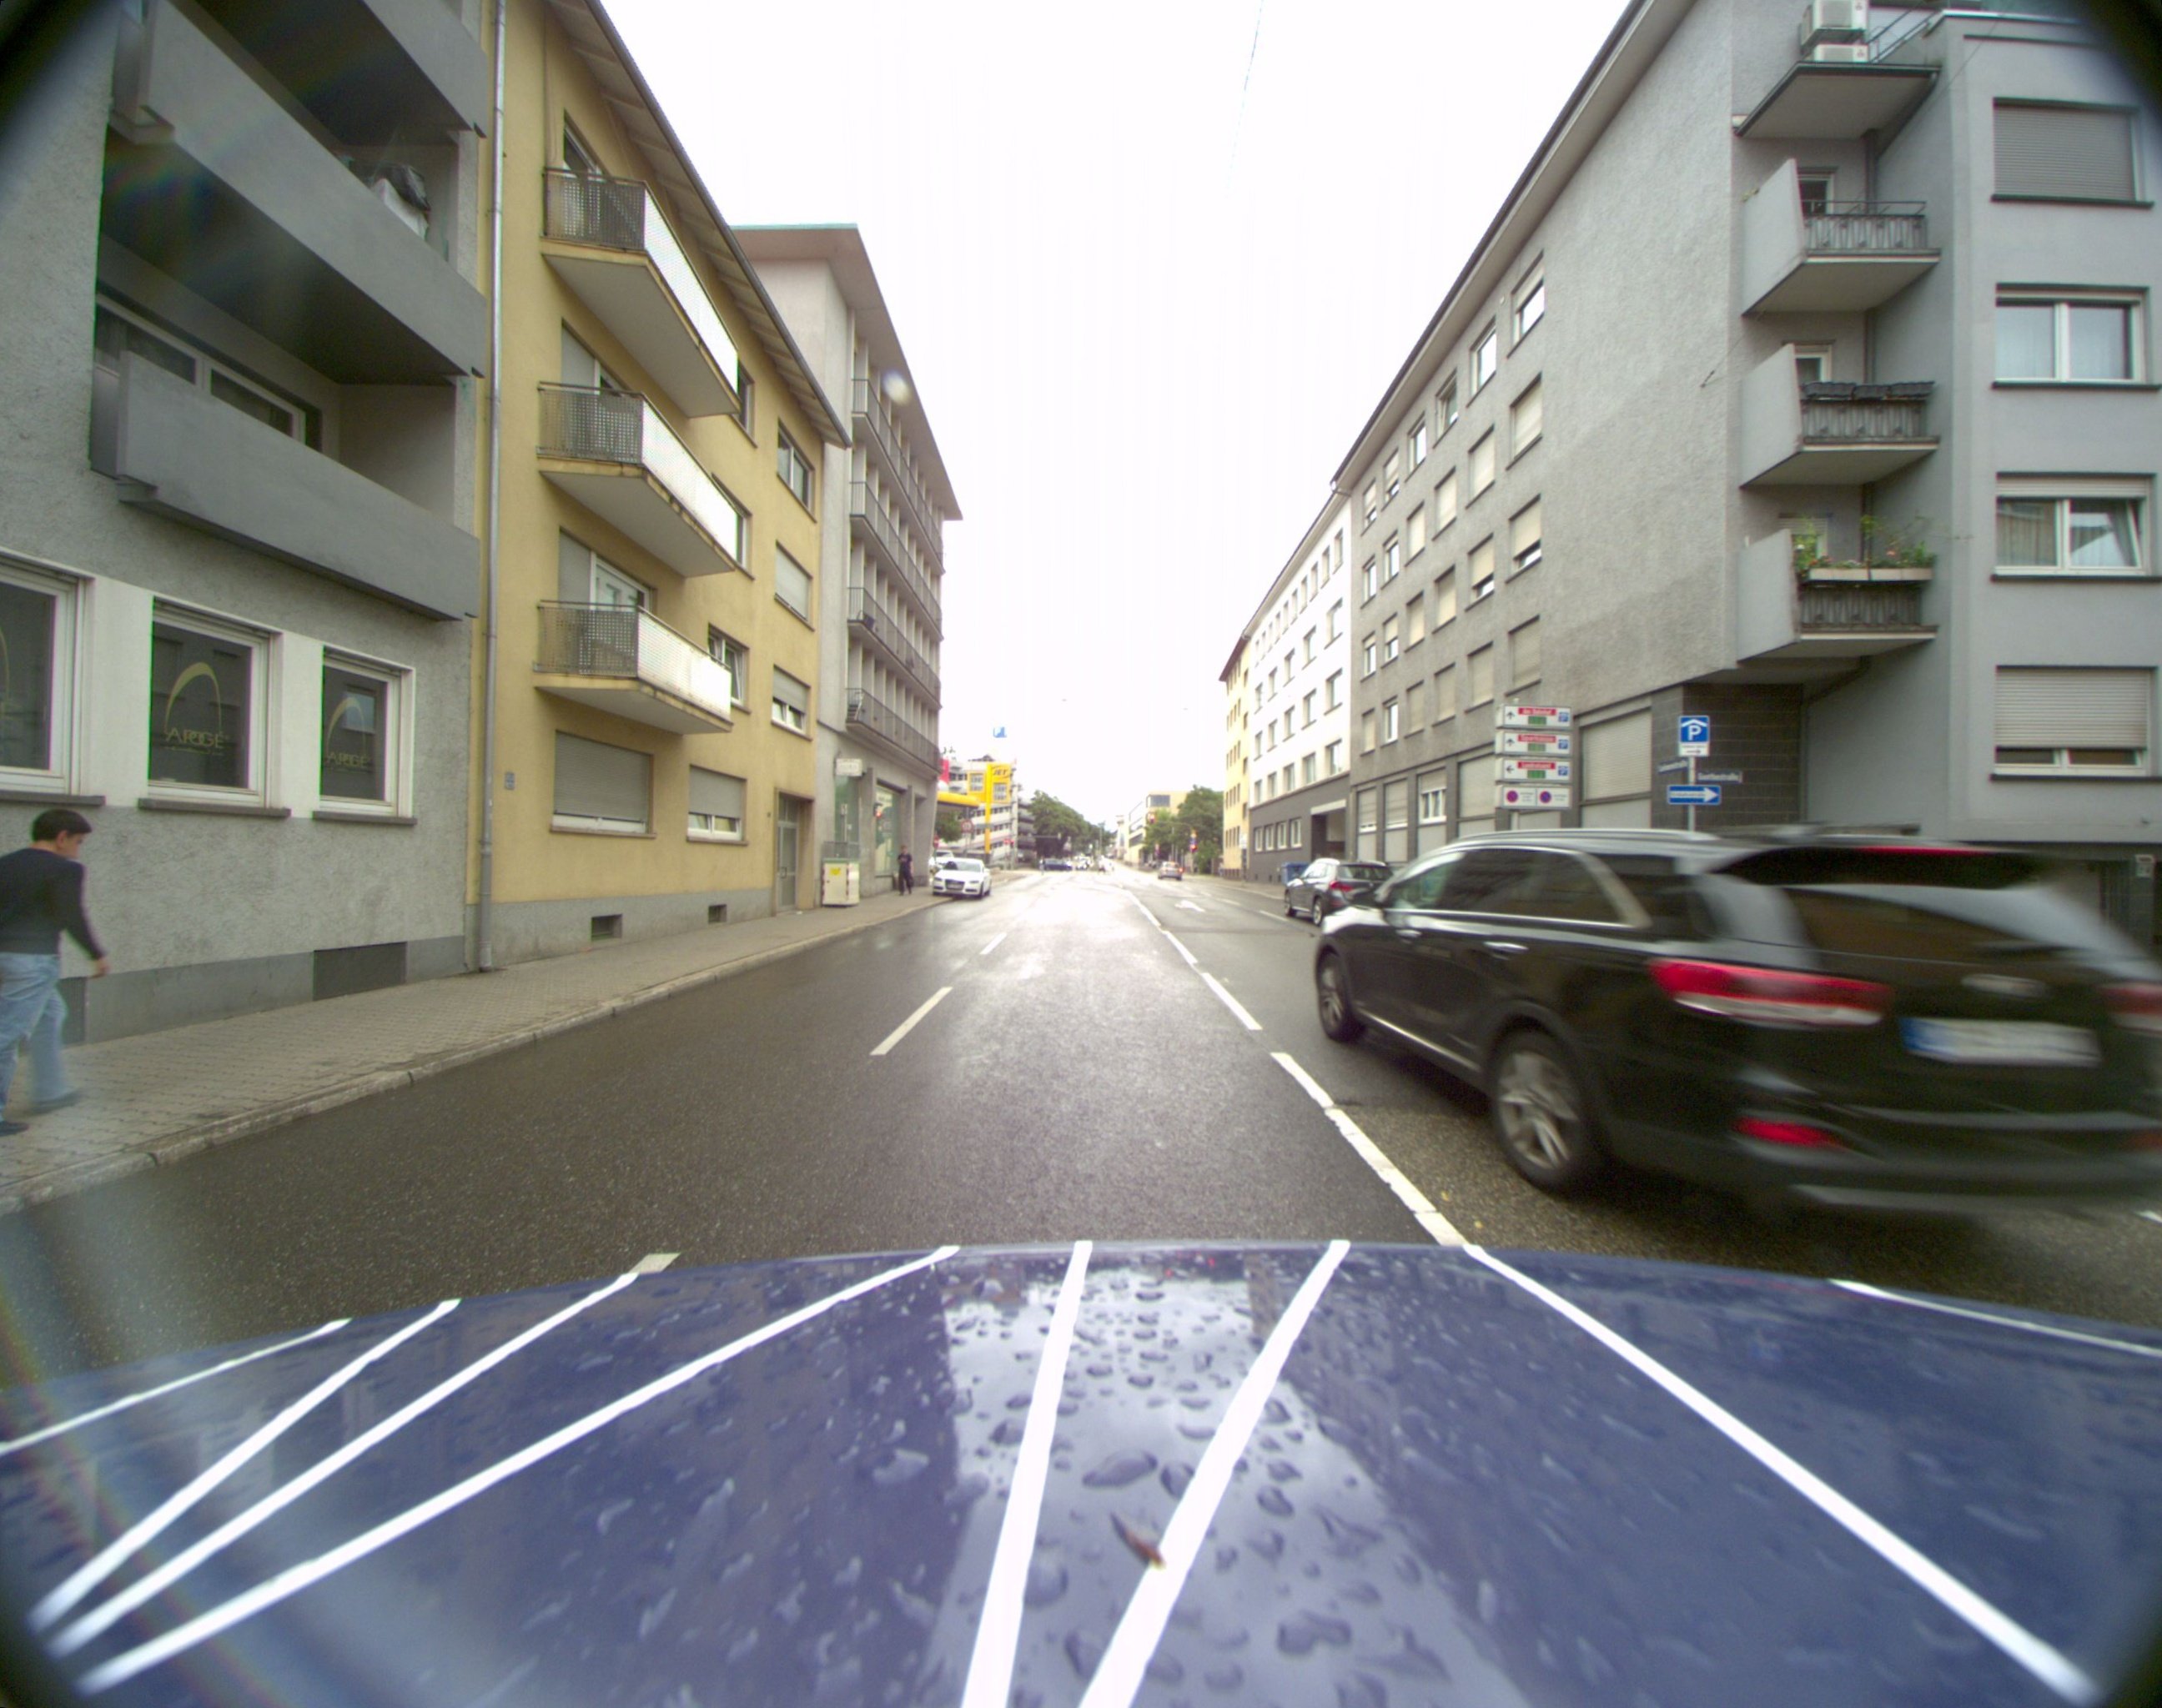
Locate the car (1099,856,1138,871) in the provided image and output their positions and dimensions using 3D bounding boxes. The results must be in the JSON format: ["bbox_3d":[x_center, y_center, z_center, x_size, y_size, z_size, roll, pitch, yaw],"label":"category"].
[{"bbox_3d":[3.862,0.991,78.168,3.996,1.499,1.738,1,1,2],"label":"car"}]

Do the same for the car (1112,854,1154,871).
[{"bbox_3d":[5.050,0.812,73.922,3.996,1.499,1.738,1,1,2],"label":"car"}]

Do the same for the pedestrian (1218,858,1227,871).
[{"bbox_3d":[12.392,0.920,66.597,0.581,1.143,0.408,3,1,27],"label":"pedestrian"}]

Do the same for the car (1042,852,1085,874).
[{"bbox_3d":[-1.610,0.838,69.934,3.794,1.823,1.692,-3,0,2],"label":"car"}]

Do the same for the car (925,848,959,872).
[{"bbox_3d":[-9.126,0.361,50.273,1.771,1.465,3.998,-2,0,-5],"label":"car"}]

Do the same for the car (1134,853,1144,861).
[{"bbox_3d":[13.761,0.701,180.769,1.998,1.683,4.000,-2,1,2],"label":"car"}]

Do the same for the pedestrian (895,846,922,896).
[{"bbox_3d":[-6.103,0.581,26.908,0.679,1.745,0.888,1,1,2],"label":"pedestrian"}]

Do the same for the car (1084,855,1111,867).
[{"bbox_3d":[2.655,1.085,120.131,3.995,1.736,2.000,-2,1,5],"label":"car"}]

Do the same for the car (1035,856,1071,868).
[{"bbox_3d":[-3.471,0.973,92.954,4.005,1.499,1.734,1,1,-23],"label":"car"}]

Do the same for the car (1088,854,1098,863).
[{"bbox_3d":[2.372,0.920,153.303,1.998,1.736,3.999,-2,1,0],"label":"car"}]

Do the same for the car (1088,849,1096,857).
[{"bbox_3d":[2.722,-0.318,194.275,1.998,2.002,3.999,-2,1,1],"label":"car"}]

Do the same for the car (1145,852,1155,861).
[{"bbox_3d":[15.451,0.592,170.064,1.998,1.863,3.999,-2,1,0],"label":"car"}]

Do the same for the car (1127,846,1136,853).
[{"bbox_3d":[12.854,-1.106,192.902,1.998,1.683,4.000,-2,1,2],"label":"car"}]

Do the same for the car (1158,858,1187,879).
[{"bbox_3d":[7.418,1.161,62.141,1.883,1.580,4.373,0,0,1],"label":"car"}]

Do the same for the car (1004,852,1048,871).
[{"bbox_3d":[-5.515,0.724,76.424,3.994,1.751,2.001,1,1,9],"label":"car"}]

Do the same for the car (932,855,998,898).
[{"bbox_3d":[-4.366,0.807,29.076,1.803,1.427,4.166,1,0,1],"label":"car"}]

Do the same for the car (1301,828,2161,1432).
[{"bbox_3d":[2.884,0.811,4.449,1.841,1.717,4.474,3,0,0],"label":"car"}]

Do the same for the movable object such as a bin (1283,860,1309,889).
[{"bbox_3d":[10.410,0.996,36.812,0.946,1.325,1.096,-3,1,1],"label":"movable object such as a bin"}]

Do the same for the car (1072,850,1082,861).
[{"bbox_3d":[-0.770,0.318,149.563,1.998,2.002,3.999,-2,1,0],"label":"car"}]

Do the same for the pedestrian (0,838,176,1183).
[{"bbox_3d":[-5.882,0.808,4.118,0.644,1.768,1.056,3,1,0],"label":"pedestrian"}]

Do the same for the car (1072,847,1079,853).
[{"bbox_3d":[-1.886,-1.348,257.737,1.998,1.827,3.999,-2,1,1],"label":"car"}]

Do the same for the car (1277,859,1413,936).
[{"bbox_3d":[6.072,0.934,18.008,1.707,1.498,4.159,3,0,0],"label":"car"}]
